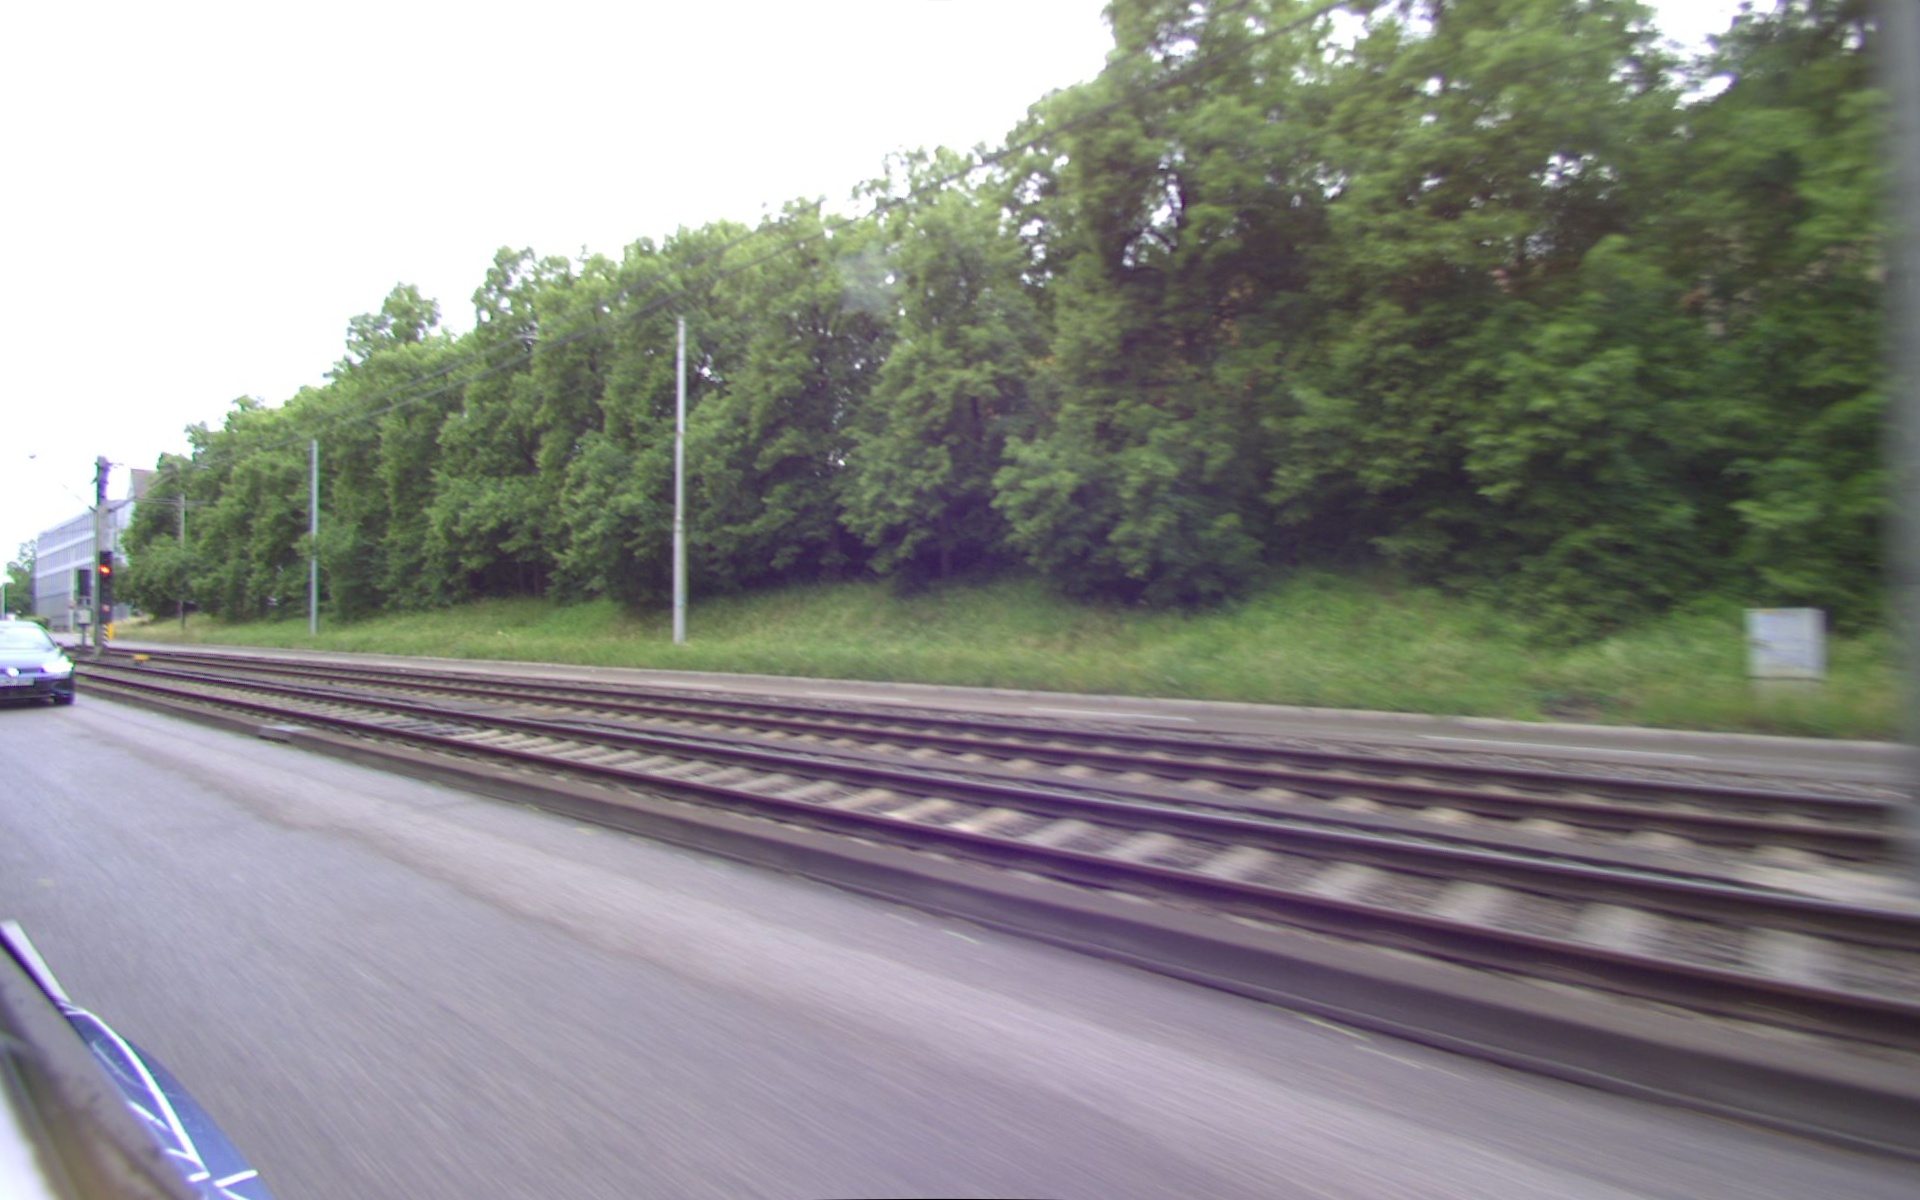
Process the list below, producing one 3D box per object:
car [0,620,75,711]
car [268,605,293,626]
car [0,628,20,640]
[{"bbox_3d":[-16.861,1.097,17.567,3.831,1.459,1.748,-2,-2,41],"label":"car"},{"bbox_3d":[-67.357,1.588,100.334,1.934,2.029,4.228,1,-2,-33],"label":"car"},{"bbox_3d":[-116.376,4.129,123.937,3.907,1.447,1.460,-1,-4,41],"label":"car"}]
